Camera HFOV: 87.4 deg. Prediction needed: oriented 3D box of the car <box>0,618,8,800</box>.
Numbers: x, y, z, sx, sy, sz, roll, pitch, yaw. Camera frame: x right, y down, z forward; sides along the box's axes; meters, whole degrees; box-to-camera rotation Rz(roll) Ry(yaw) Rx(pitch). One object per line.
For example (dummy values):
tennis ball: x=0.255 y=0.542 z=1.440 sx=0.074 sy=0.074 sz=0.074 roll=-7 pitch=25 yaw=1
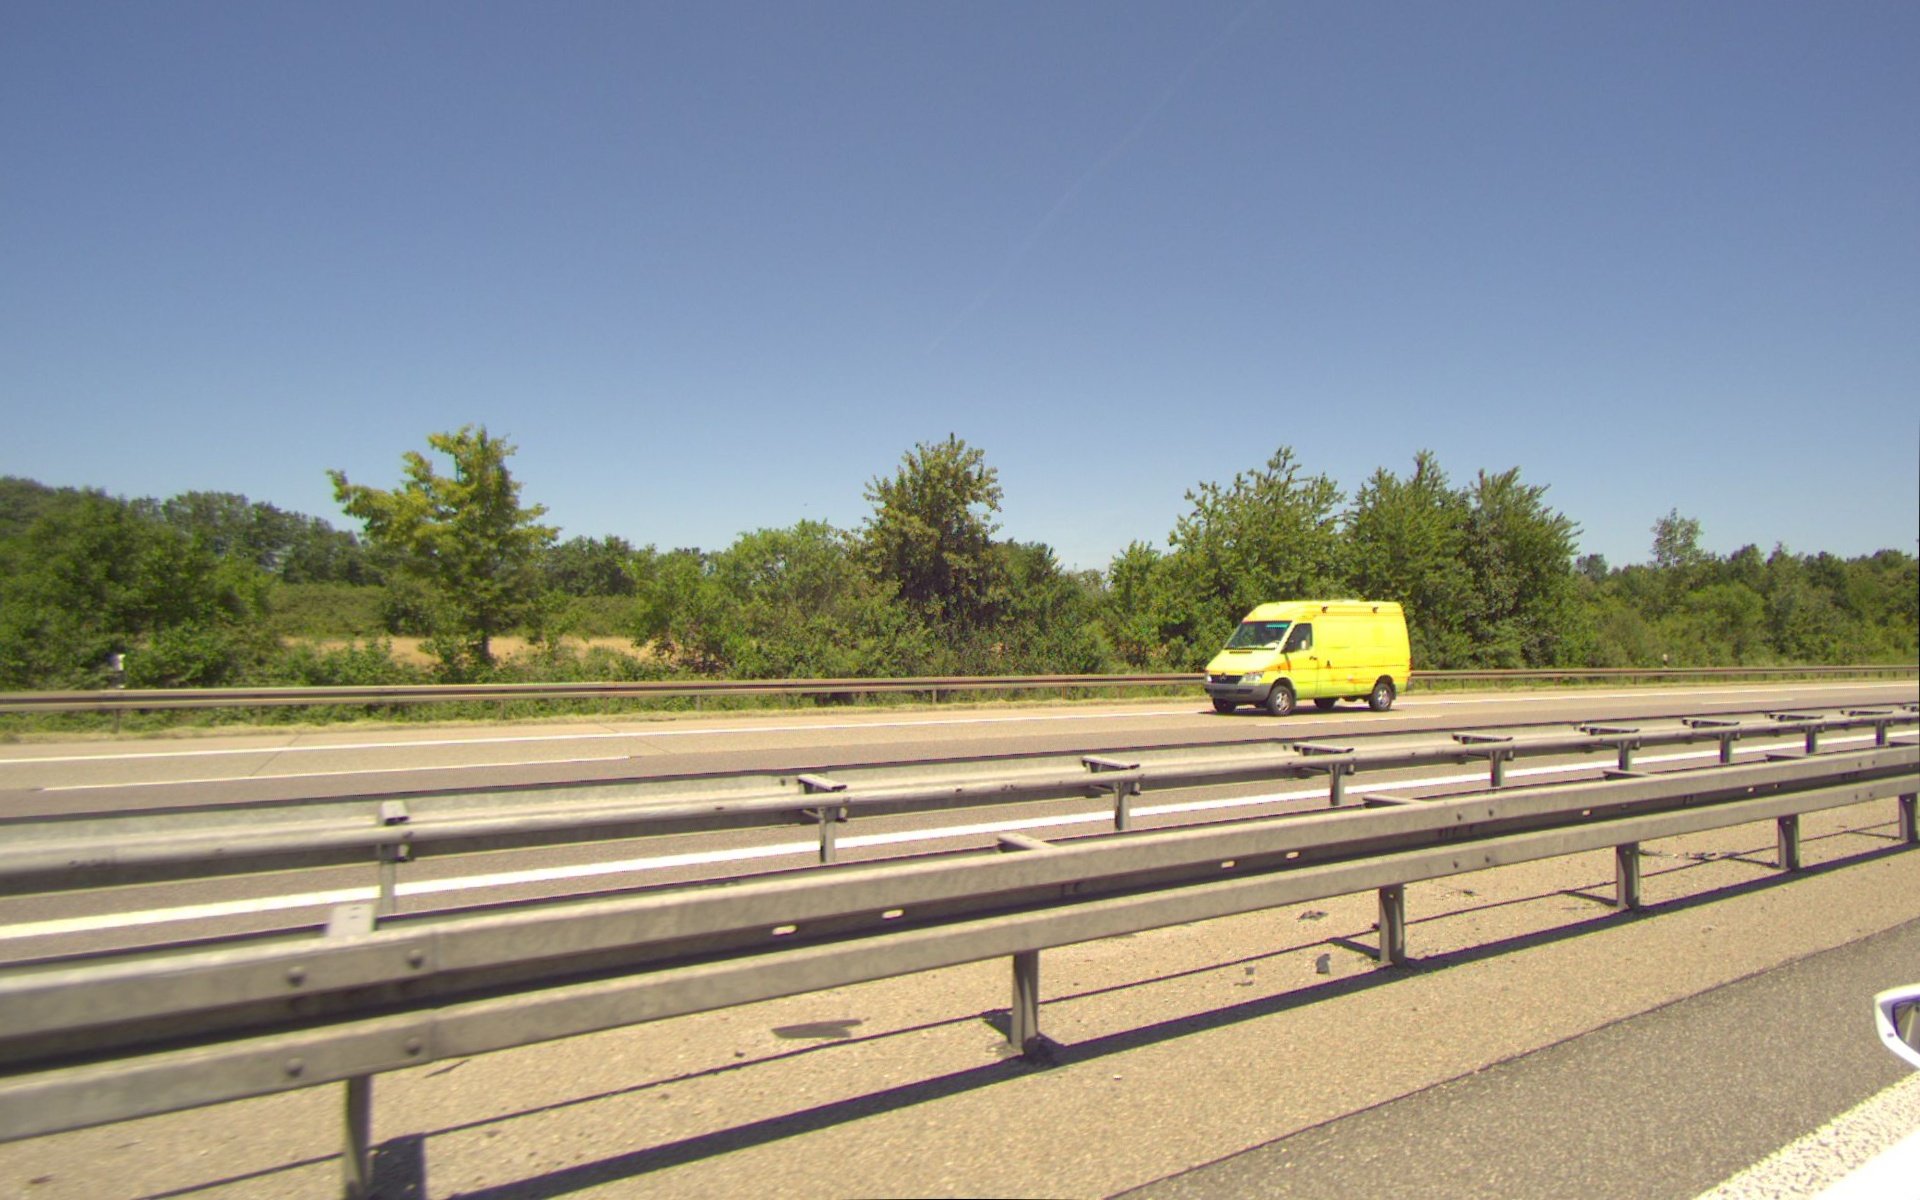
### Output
car: x=-10.570 y=0.930 z=7.559 sx=4.573 sy=1.712 sz=1.859 roll=2 pitch=-3 yaw=-31

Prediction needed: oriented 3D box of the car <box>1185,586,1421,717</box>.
car: x=8.278 y=1.236 z=24.047 sx=5.733 sy=2.815 sz=2.155 roll=2 pitch=-3 yaw=-31
